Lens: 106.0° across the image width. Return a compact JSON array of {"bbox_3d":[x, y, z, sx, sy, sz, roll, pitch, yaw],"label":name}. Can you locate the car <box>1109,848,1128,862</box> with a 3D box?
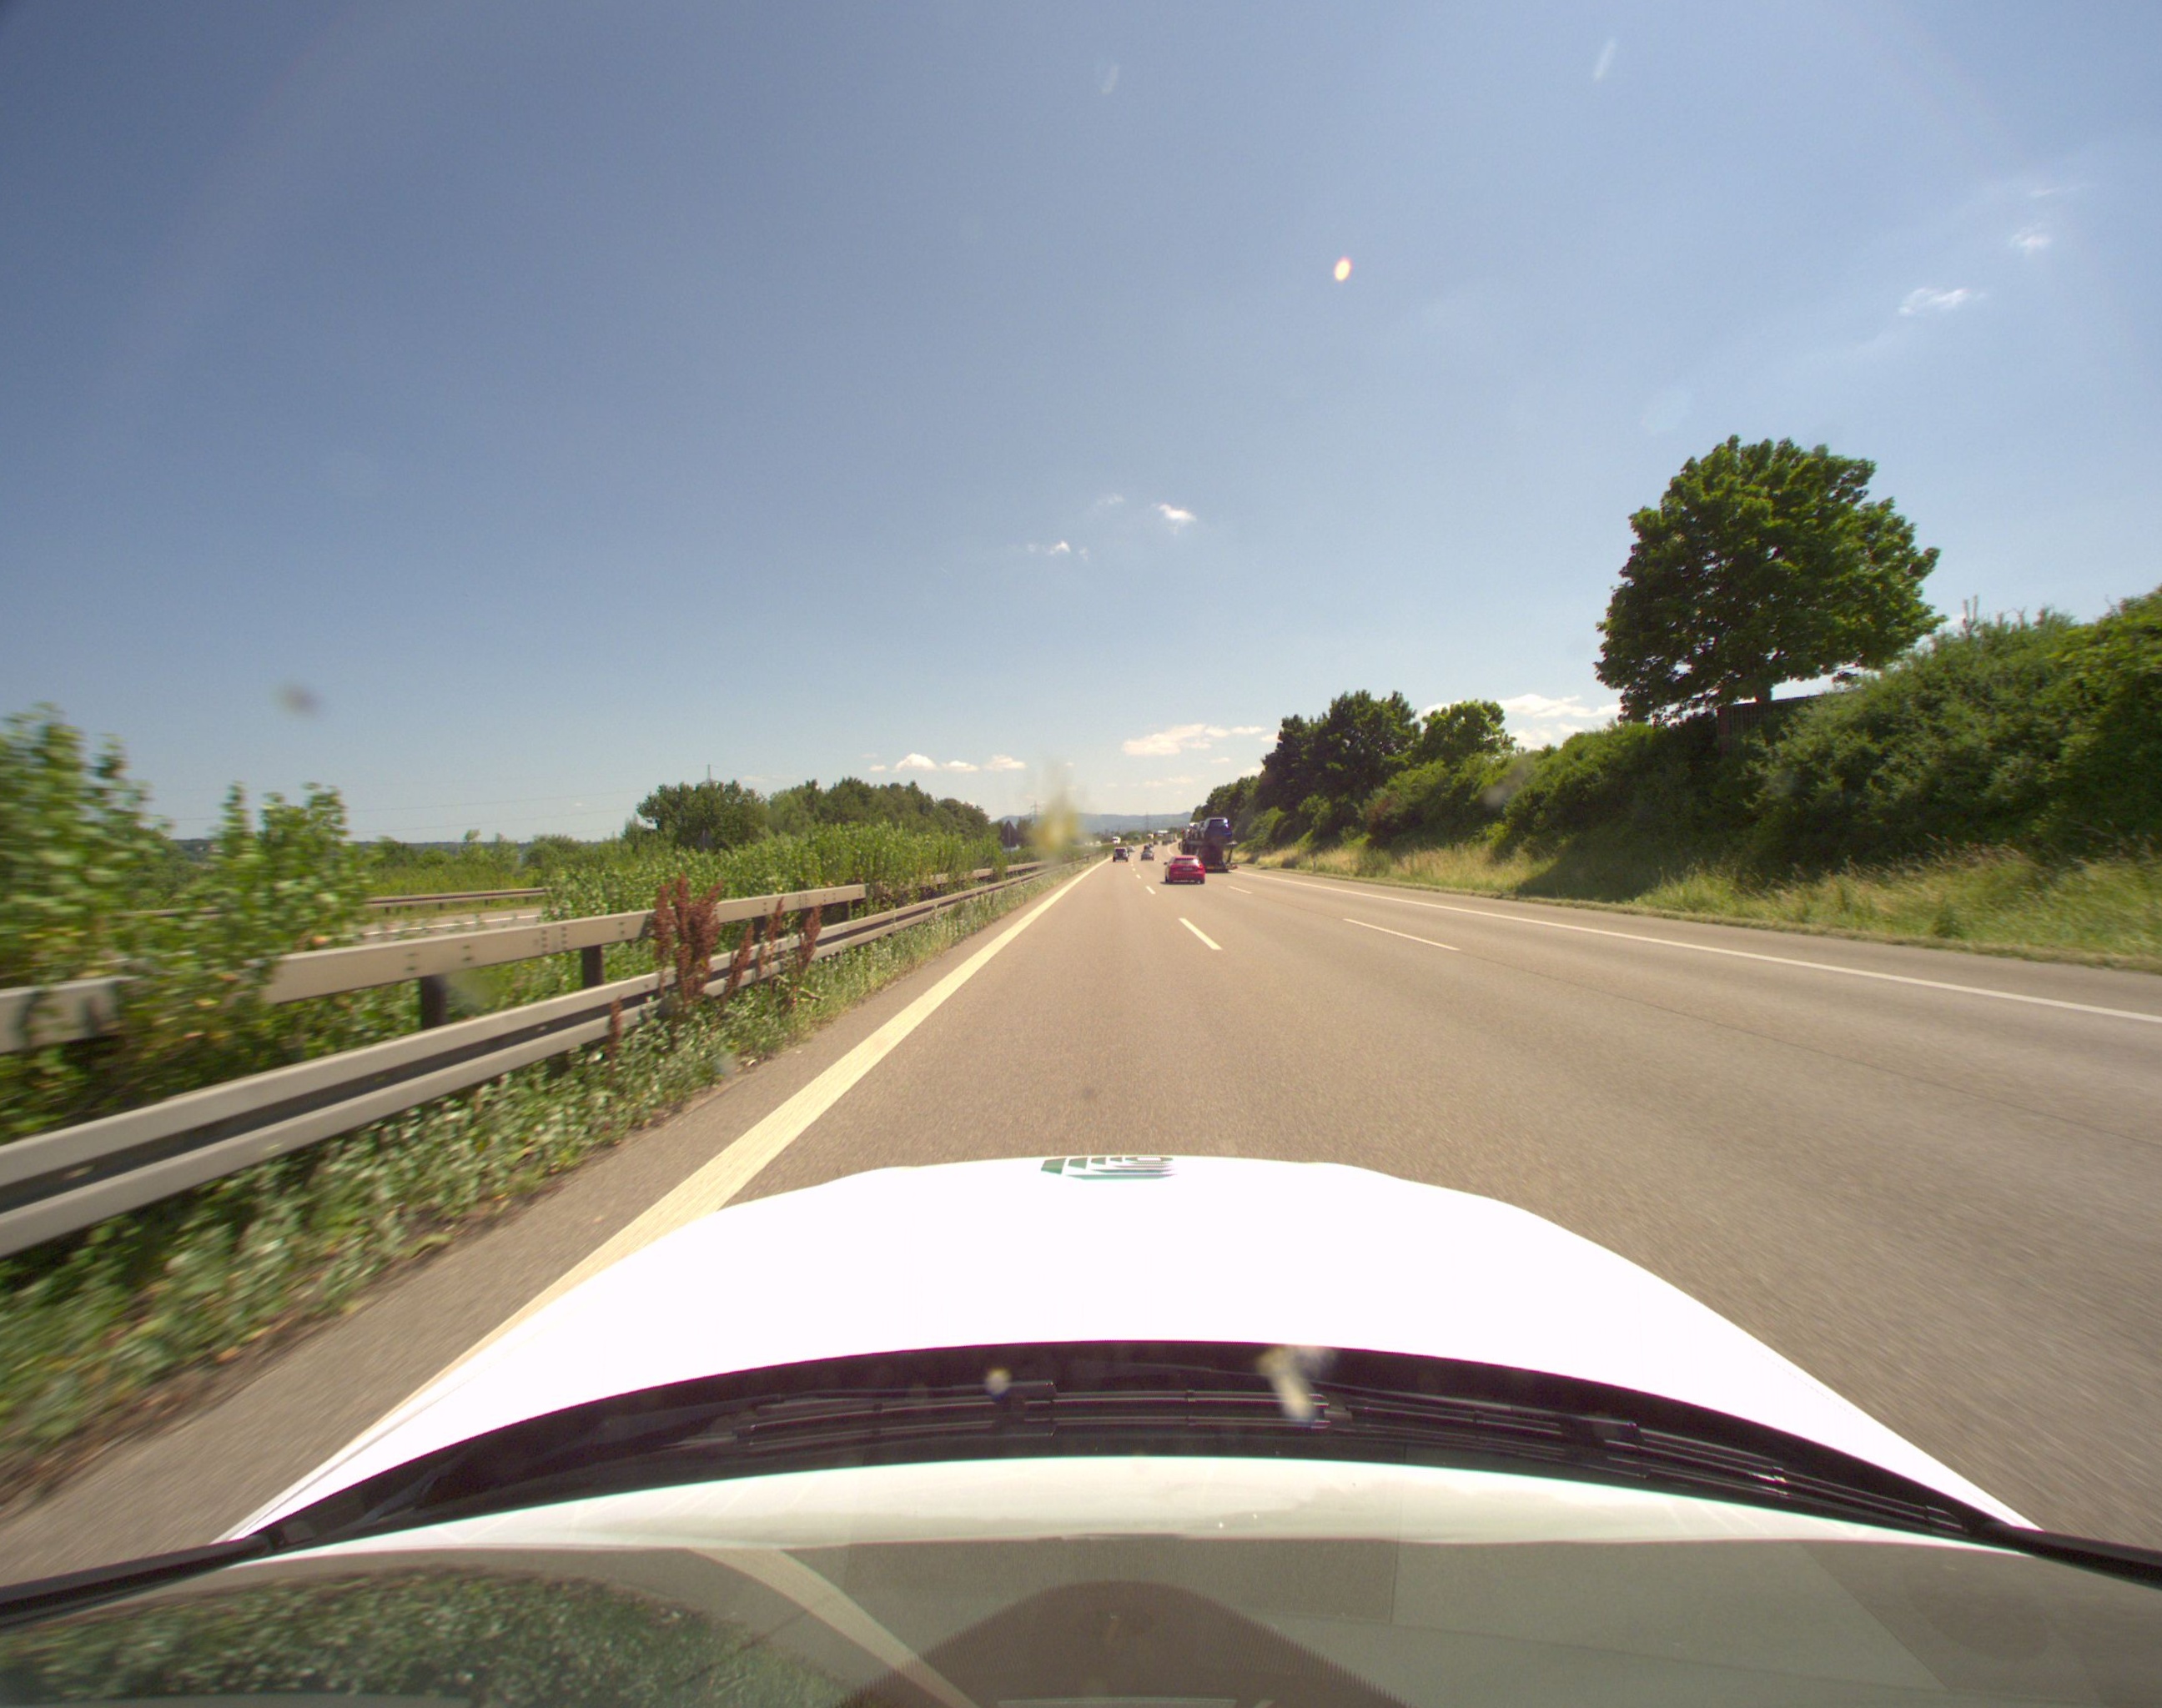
[{"bbox_3d":[4.912,0.107,106.403,2.078,1.829,4.749,0,0,-2],"label":"car"}]

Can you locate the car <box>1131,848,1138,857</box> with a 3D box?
[{"bbox_3d":[12.878,-0.340,195.952,1.689,2.013,3.829,0,0,6],"label":"car"}]

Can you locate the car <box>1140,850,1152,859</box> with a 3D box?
[{"bbox_3d":[9.139,0.061,113.987,1.447,1.267,3.539,0,0,1],"label":"car"}]

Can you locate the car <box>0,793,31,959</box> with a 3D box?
[{"bbox_3d":[-12.802,0.250,7.372,1.623,1.828,3.772,0,0,2],"label":"car"}]

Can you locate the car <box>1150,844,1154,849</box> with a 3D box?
[{"bbox_3d":[22.520,-2.328,258.017,1.389,1.705,3.007,0,0,6],"label":"car"}]

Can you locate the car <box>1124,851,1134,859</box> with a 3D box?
[{"bbox_3d":[8.695,0.206,146.752,1.566,1.363,3.453,0,0,6],"label":"car"}]

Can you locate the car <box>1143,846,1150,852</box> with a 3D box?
[{"bbox_3d":[17.620,-1.340,219.680,1.627,1.705,3.407,0,0,6],"label":"car"}]

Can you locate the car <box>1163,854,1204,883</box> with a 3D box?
[{"bbox_3d":[5.139,0.692,41.228,1.680,1.379,3.950,0,0,1],"label":"car"}]

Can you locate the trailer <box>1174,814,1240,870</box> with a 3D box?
[{"bbox_3d":[9.824,-0.865,65.451,2.846,3.993,15.391,0,0,0],"label":"trailer"}]

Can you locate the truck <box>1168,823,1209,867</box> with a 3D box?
[{"bbox_3d":[9.748,-0.837,74.583,2.746,3.852,6.641,0,0,-1],"label":"truck"}]
